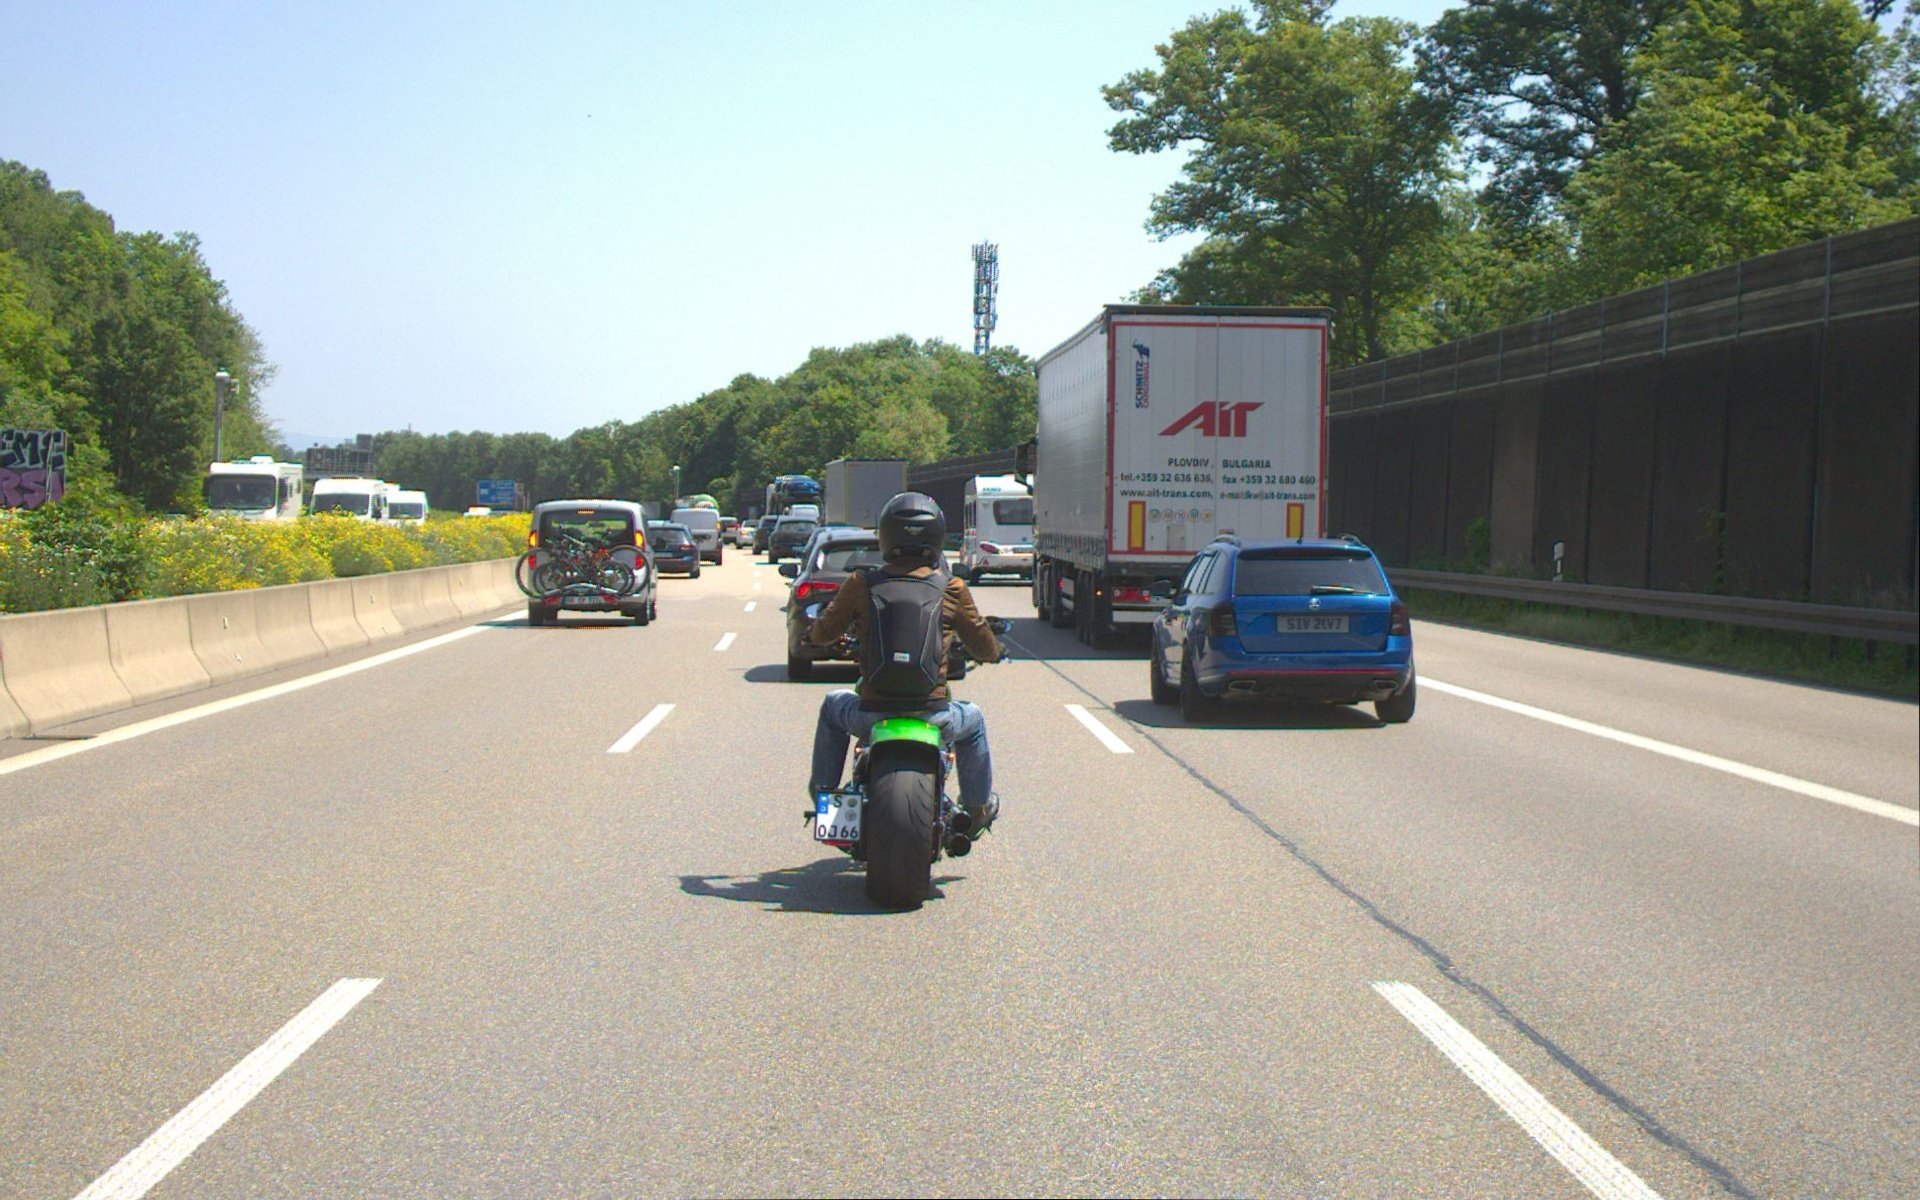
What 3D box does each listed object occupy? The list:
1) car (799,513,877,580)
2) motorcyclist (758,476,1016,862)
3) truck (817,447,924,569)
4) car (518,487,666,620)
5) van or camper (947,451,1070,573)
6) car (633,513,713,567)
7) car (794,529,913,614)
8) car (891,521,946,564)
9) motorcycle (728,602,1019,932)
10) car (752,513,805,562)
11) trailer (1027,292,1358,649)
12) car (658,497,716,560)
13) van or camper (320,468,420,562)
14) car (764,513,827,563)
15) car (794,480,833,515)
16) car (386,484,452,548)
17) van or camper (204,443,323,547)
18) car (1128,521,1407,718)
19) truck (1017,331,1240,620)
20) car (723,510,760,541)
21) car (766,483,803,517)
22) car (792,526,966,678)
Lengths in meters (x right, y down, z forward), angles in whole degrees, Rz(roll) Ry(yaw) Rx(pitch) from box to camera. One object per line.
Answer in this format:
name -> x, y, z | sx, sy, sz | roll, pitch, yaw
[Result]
car -> -2.891, -1.294, 81.861 | 1.779, 1.546, 3.585 | 1, 1, -1
motorcyclist -> -0.264, 0.257, 14.080 | 0.900, 1.470, 1.872 | 0, 0, 3
truck -> -3.848, -3.812, 145.206 | 3.802, 4.943, 8.952 | 0, 0, -6
car -> -5.378, -0.672, 50.704 | 1.899, 1.867, 4.413 | 0, 0, -3
van or camper -> 1.111, -2.060, 83.235 | 2.685, 2.803, 6.803 | 0, 0, -2
car -> -7.503, -1.557, 90.220 | 1.993, 1.382, 4.000 | 0, 0, -4
car -> -1.851, -0.494, 59.953 | 1.993, 1.425, 3.847 | 0, 0, -2
car -> -1.559, -2.136, 128.368 | 1.993, 1.568, 4.000 | 0, 0, -1
motorcycle -> -0.301, 0.625, 14.258 | 0.964, 1.144, 2.811 | 1, 1, 3
car -> -7.708, -2.634, 145.724 | 1.911, 2.007, 3.691 | 0, 0, -8
trailer -> 2.768, -1.624, 45.816 | 2.885, 4.024, 13.797 | 0, 1, -2
car -> -9.002, -2.349, 113.477 | 1.791, 2.007, 3.642 | 0, 0, -3
van or camper -> -18.735, -2.699, 109.473 | 2.257, 2.889, 6.558 | 0, 1, -2
car -> -5.625, -2.099, 117.267 | 1.993, 1.634, 4.001 | 0, 0, -5
car -> -8.383, -5.830, 196.075 | 2.107, 1.870, 4.001 | 0, 0, -4
car -> -23.414, -3.653, 148.974 | 2.200, 2.732, 5.748 | 0, 2, -3
van or camper -> -23.639, -3.507, 117.098 | 2.539, 3.306, 9.003 | 0, 0, -2
car -> 2.429, 0.133, 28.161 | 1.650, 1.477, 4.482 | 0, 0, -3
truck -> 2.469, -1.860, 52.471 | 2.885, 4.132, 5.987 | 0, 1, -2
car -> -10.974, -3.711, 172.505 | 1.832, 1.491, 3.744 | 0, 0, -4
car -> -10.299, -5.869, 201.679 | 2.107, 1.870, 4.001 | 0, 0, -4
car -> -0.852, 0.009, 34.821 | 1.662, 1.448, 3.869 | 0, 0, -2
